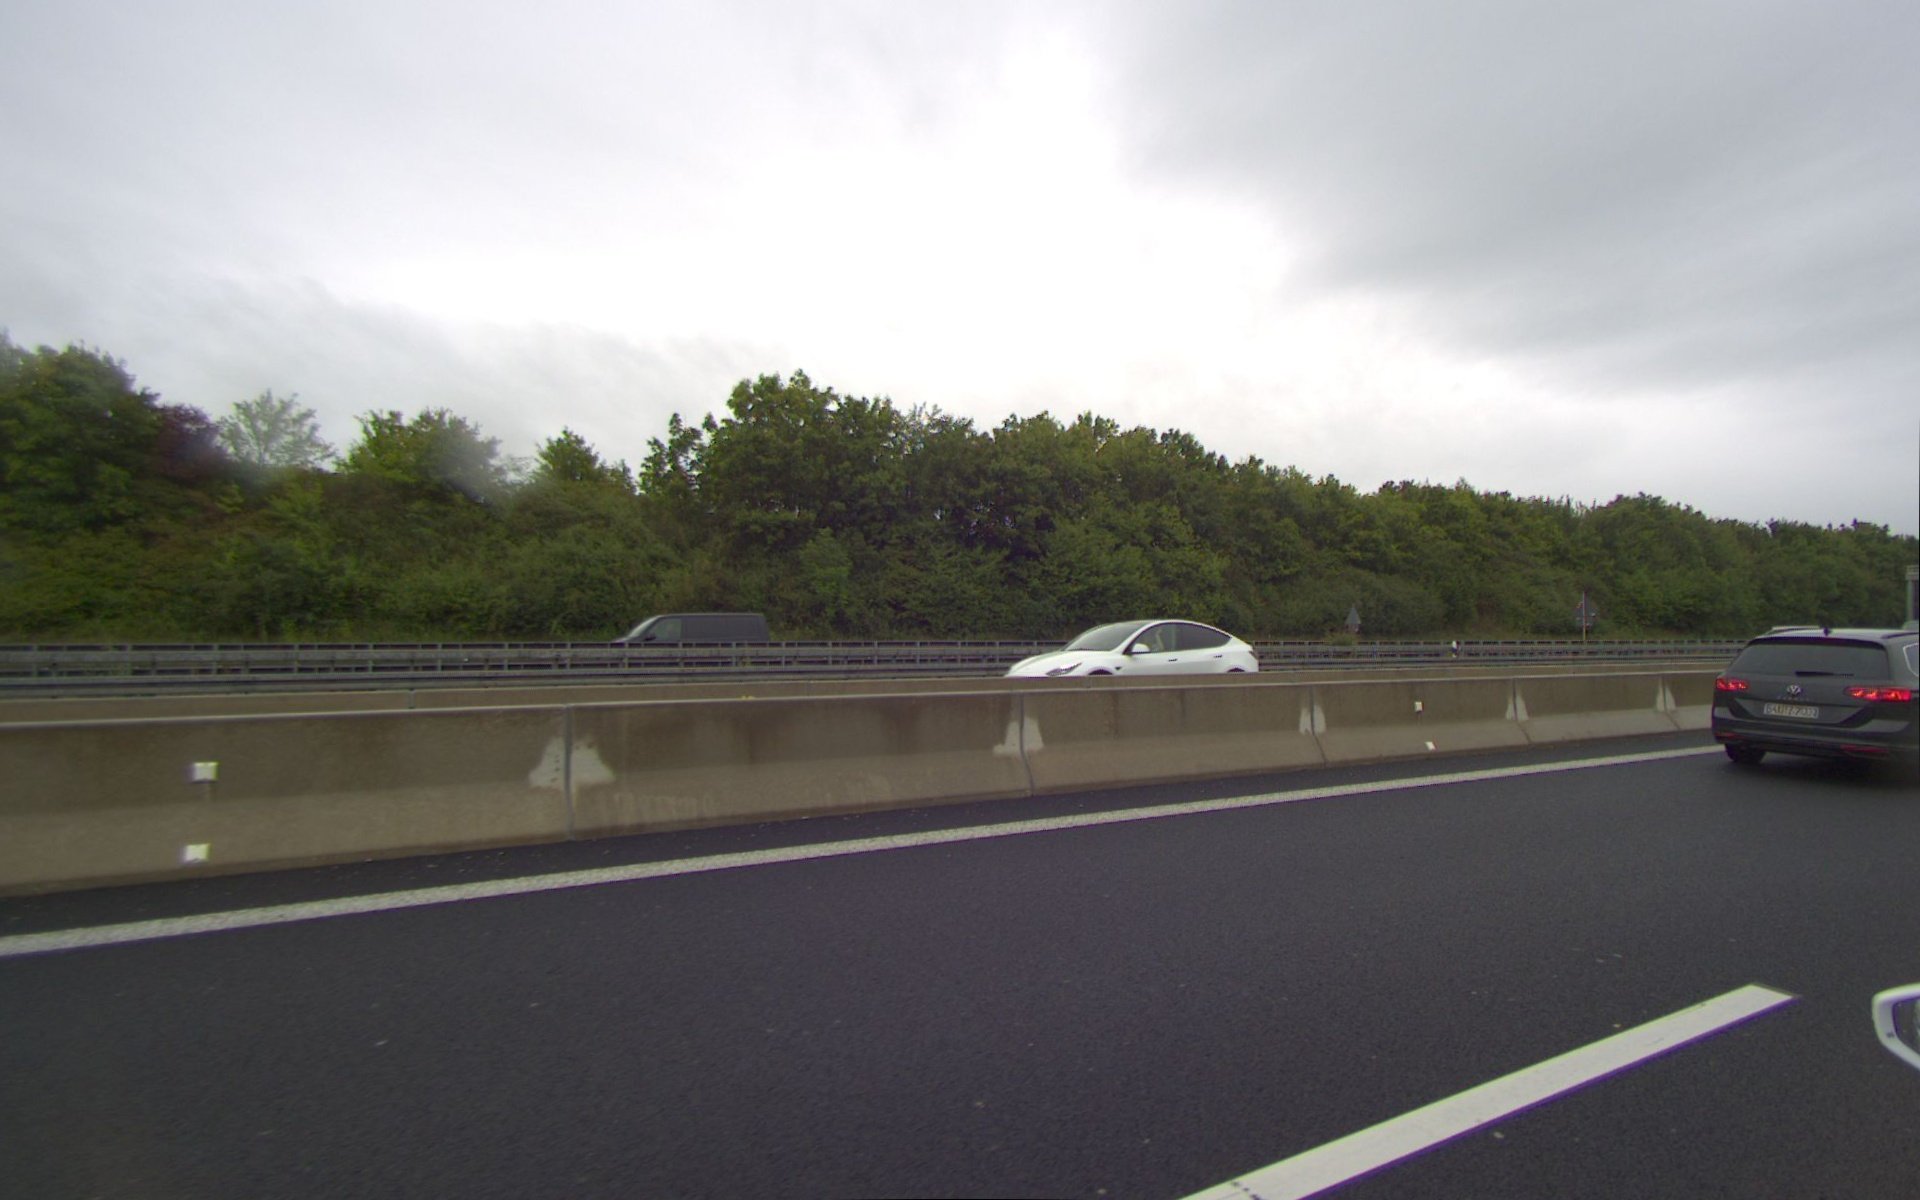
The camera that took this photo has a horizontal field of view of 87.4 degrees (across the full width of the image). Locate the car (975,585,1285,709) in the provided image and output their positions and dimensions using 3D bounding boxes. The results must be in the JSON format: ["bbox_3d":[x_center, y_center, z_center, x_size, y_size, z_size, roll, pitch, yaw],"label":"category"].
[{"bbox_3d":[2.888,0.743,16.709,4.904,1.789,2.144,1,-1,-32],"label":"car"}]

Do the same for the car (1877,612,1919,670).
[{"bbox_3d":[32.986,1.369,33.771,4.627,1.861,1.983,1,0,-32],"label":"car"}]

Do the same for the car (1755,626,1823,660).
[{"bbox_3d":[53.653,2.773,64.997,4.662,2.040,1.983,2,0,-32],"label":"car"}]

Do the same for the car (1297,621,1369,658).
[{"bbox_3d":[21.285,2.234,57.304,3.952,2.040,1.742,1,-1,-30],"label":"car"}]

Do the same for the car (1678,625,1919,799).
[{"bbox_3d":[9.893,1.046,10.734,4.744,1.478,1.779,1,0,-29],"label":"car"}]

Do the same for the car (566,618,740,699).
[{"bbox_3d":[-8.253,1.532,27.071,4.226,2.040,1.666,1,-1,-30],"label":"car"}]
